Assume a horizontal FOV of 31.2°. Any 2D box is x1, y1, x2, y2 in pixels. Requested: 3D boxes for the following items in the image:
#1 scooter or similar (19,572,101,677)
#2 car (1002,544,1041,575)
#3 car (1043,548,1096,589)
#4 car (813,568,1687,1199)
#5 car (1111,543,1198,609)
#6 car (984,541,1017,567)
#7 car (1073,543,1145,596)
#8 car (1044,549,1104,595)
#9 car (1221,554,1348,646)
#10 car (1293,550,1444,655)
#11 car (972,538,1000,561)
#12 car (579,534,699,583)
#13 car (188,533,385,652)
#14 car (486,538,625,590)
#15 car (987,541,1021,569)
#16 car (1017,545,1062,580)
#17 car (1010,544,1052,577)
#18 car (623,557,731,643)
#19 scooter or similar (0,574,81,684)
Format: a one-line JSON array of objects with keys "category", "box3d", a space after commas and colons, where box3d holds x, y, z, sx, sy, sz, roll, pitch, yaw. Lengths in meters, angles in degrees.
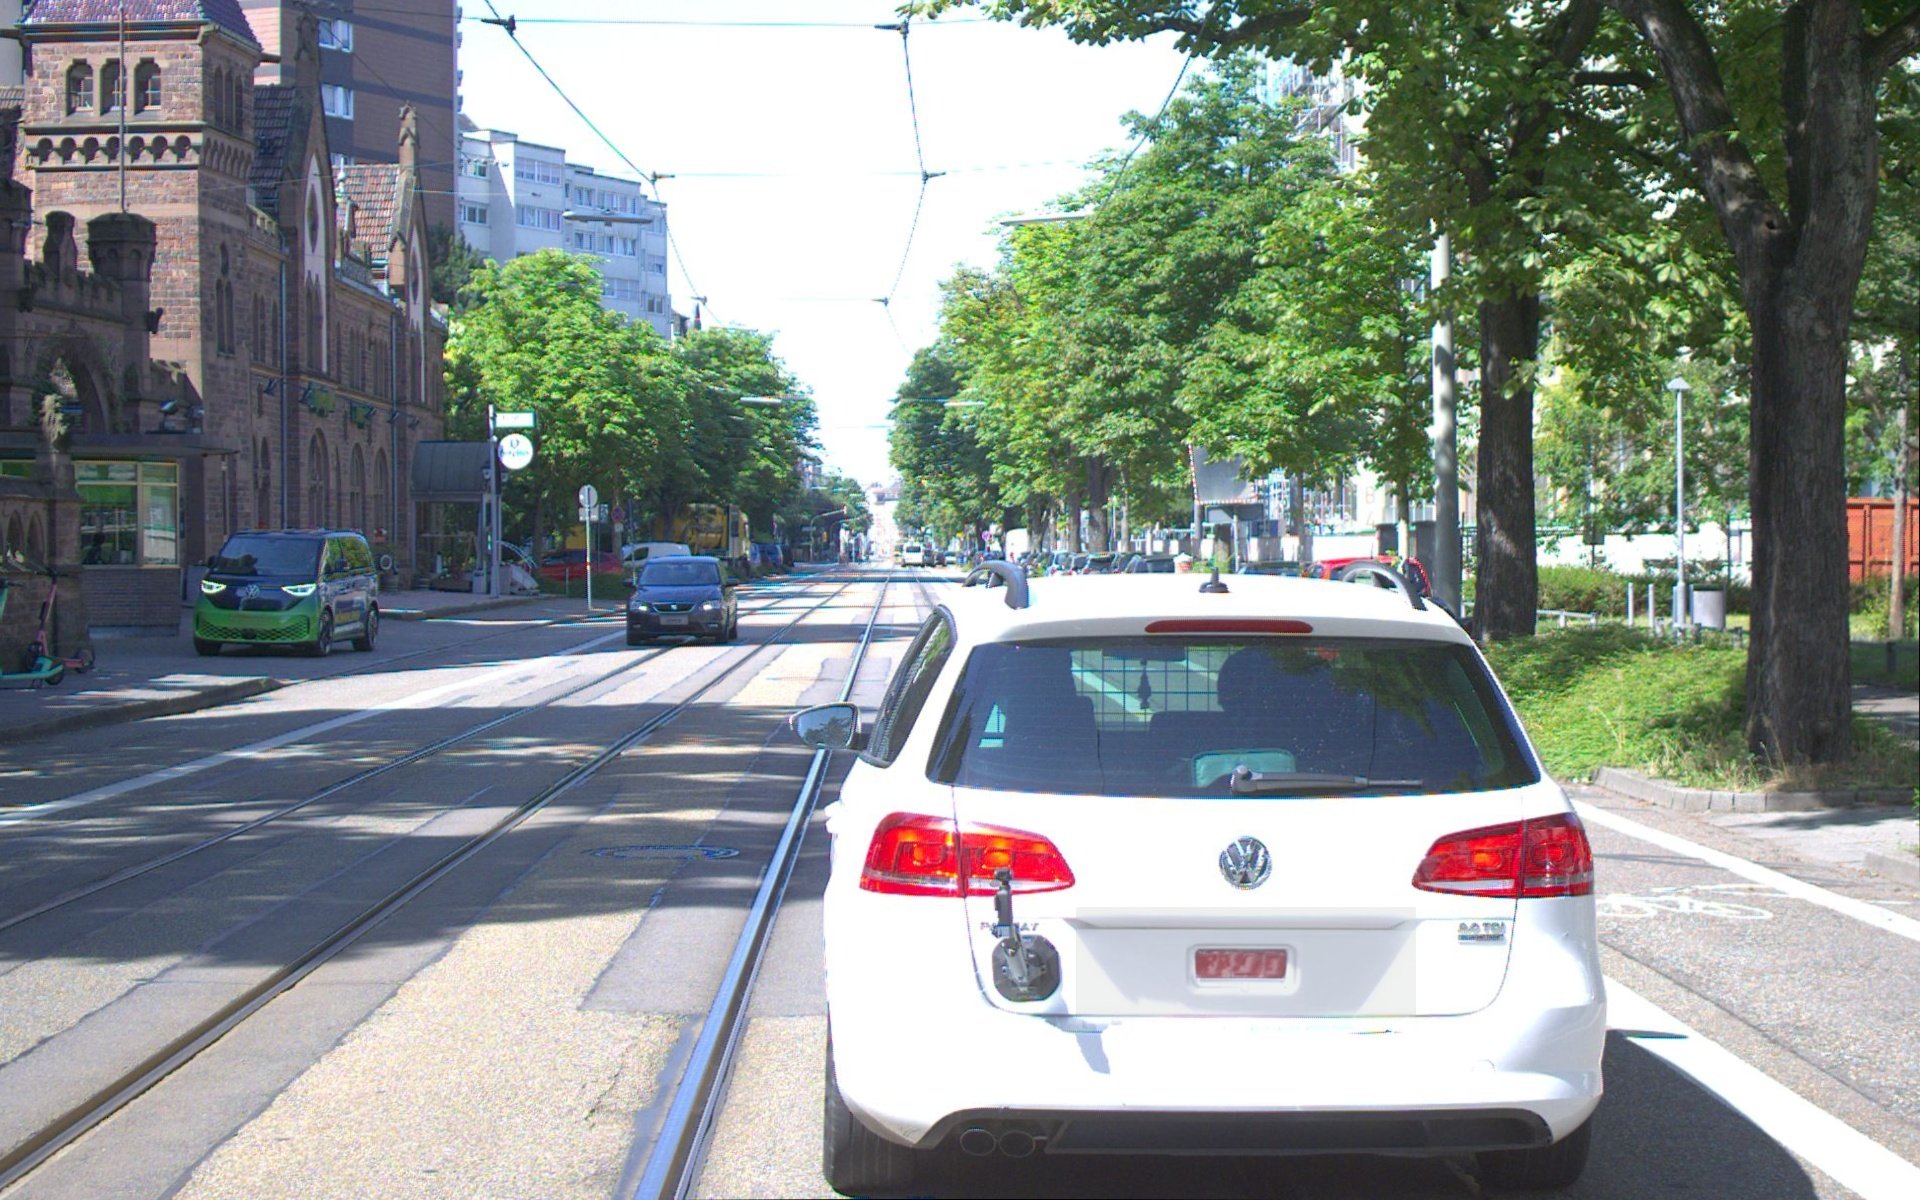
[{"category": "scooter or similar", "box3d": [-10.499, 0.275, 40.130, 0.423, 1.196, 1.142, 0, 1, 14]}, {"category": "car", "box3d": [2.846, -1.893, 159.692, 1.713, 1.396, 3.843, 0, 1, 0]}, {"category": "car", "box3d": [3.785, -1.102, 119.465, 1.713, 1.396, 3.843, 0, 1, 0]}, {"category": "car", "box3d": [0.514, 0.669, 9.116, 1.753, 1.437, 4.413, 0, 0, -2]}, {"category": "car", "box3d": [4.288, -0.551, 76.203, 1.713, 1.396, 3.843, 0, 1, 0]}, {"category": "car", "box3d": [2.186, -2.483, 185.198, 1.713, 1.396, 3.843, 0, 1, 0]}, {"category": "car", "box3d": [4.059, -0.839, 93.889, 1.713, 1.396, 3.843, -1, 1, -1]}, {"category": "car", "box3d": [3.537, -0.886, 106.969, 1.713, 1.396, 3.843, 0, 1, 0]}, {"category": "car", "box3d": [5.124, -0.027, 54.625, 1.713, 1.396, 3.843, 0, 1, 1]}, {"category": "car", "box3d": [5.252, 0.003, 44.587, 1.713, 1.276, 3.843, 0, 1, 3]}, {"category": "car", "box3d": [1.620, -3.139, 214.529, 1.713, 1.396, 3.843, 0, 1, 0]}, {"category": "car", "box3d": [-13.513, -1.742, 144.671, 4.626, 2.007, 2.000, -1, 1, -32]}, {"category": "car", "box3d": [-10.342, -0.151, 53.160, 1.993, 1.751, 4.712, 0, 1, 2]}, {"category": "car", "box3d": [-13.184, -1.171, 111.987, 4.116, 1.525, 1.933, 1, 1, -22]}, {"category": "car", "box3d": [2.322, -2.375, 180.811, 1.713, 1.396, 3.843, 0, 1, 0]}, {"category": "car", "box3d": [3.218, -1.528, 139.215, 1.713, 1.396, 3.843, 0, 1, 0]}, {"category": "car", "box3d": [3.103, -1.746, 150.448, 1.713, 1.396, 3.843, 0, 1, 0]}, {"category": "car", "box3d": [-4.708, -0.024, 57.509, 1.493, 1.380, 3.643, 0, 1, 0]}, {"category": "scooter or similar", "box3d": [-9.962, 0.301, 36.680, 0.405, 1.151, 1.141, 0, 1, 33]}]
